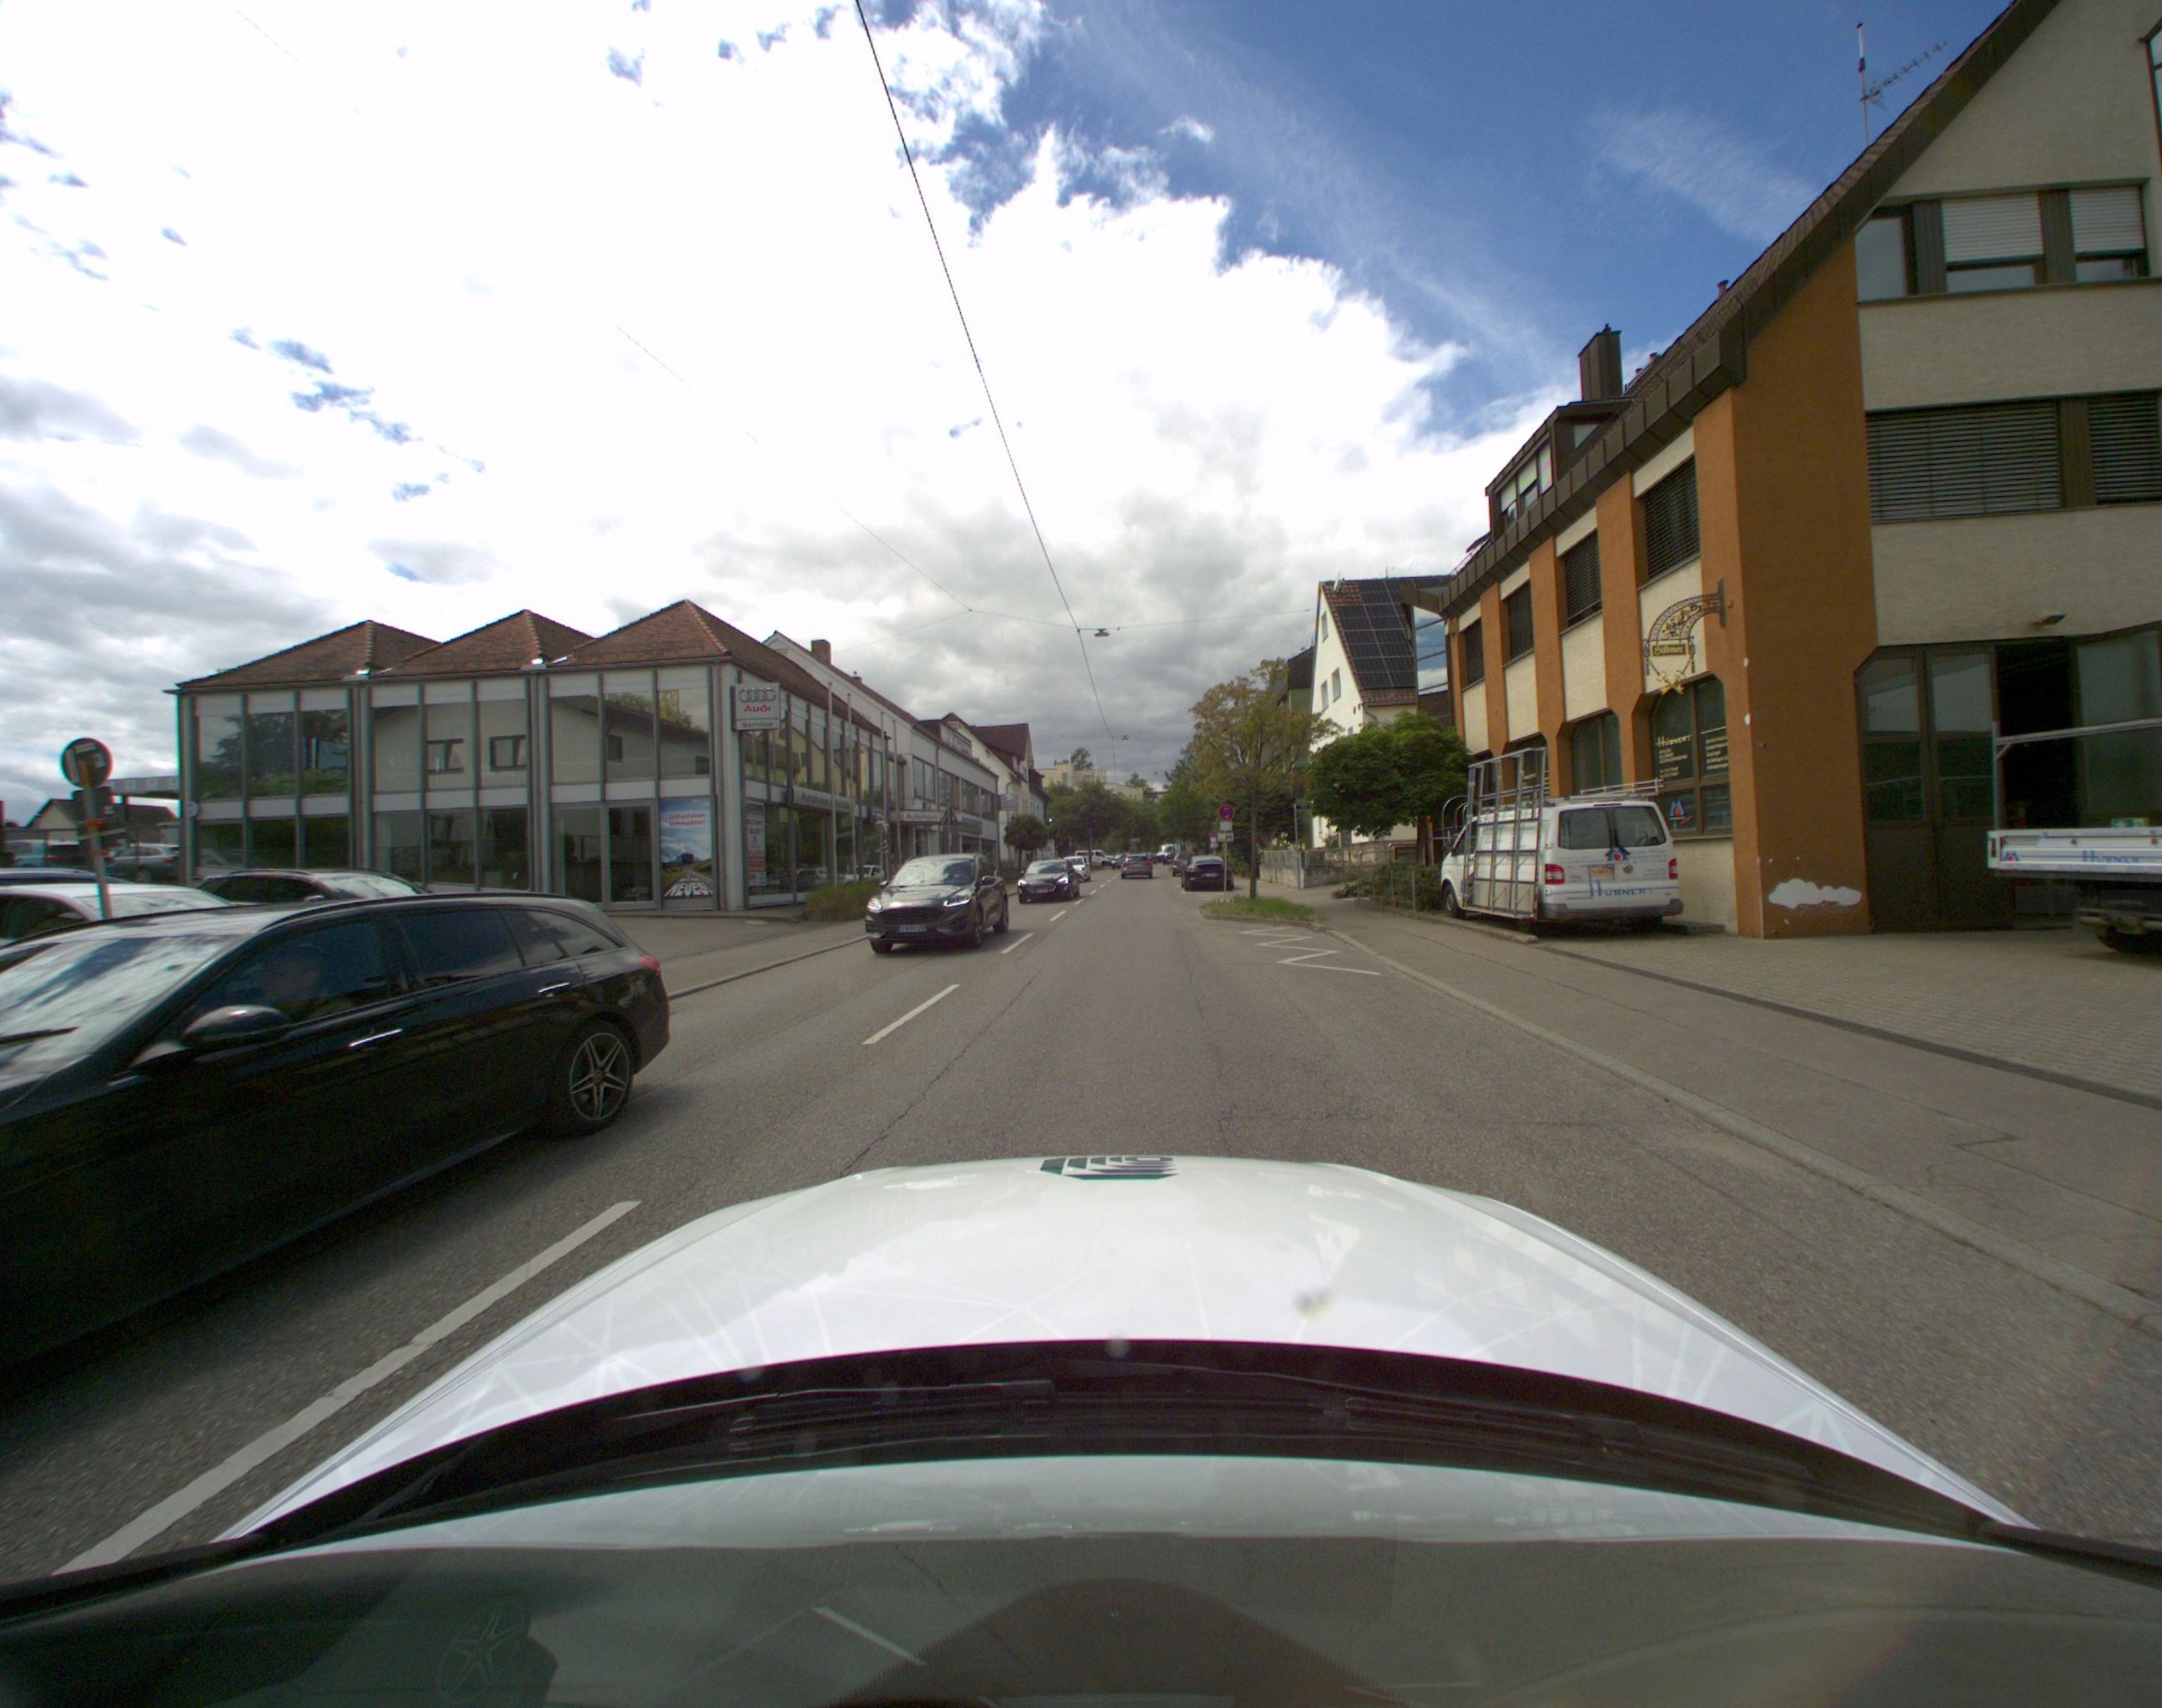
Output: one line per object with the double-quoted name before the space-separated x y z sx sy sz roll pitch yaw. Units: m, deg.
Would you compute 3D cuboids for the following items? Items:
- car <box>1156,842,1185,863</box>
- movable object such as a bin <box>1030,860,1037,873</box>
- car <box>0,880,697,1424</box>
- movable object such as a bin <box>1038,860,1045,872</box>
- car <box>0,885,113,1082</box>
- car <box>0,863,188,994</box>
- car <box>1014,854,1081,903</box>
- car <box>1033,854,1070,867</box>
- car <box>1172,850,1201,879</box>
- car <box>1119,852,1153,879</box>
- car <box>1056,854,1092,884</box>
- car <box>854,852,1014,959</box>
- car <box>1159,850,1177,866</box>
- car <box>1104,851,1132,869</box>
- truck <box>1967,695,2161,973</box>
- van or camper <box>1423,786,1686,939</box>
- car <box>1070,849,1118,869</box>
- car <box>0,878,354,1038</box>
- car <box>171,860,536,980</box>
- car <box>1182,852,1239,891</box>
"car" 11.570 -0.244 104.658 2.044 2.353 5.213 -5 0 24
"movable object such as a bin" -4.142 1.078 71.456 0.562 1.101 0.563 0 -1 0
"car" -3.826 0.942 3.574 1.732 1.429 4.530 -3 0 5
"movable object such as a bin" -3.492 1.066 71.522 0.562 1.101 0.563 0 -1 0
"car" -10.364 1.110 6.299 3.724 1.518 1.730 -2 0 2
"car" -14.694 0.985 10.313 1.798 1.585 4.333 1 1 4
"car" -1.112 0.834 28.707 1.823 1.523 4.175 -3 -1 4
"car" -3.427 0.777 94.825 3.985 1.413 1.823 -2 -2 17
"car" 6.845 0.651 52.976 1.681 1.666 4.471 -3 1 7
"car" 3.356 0.702 49.199 1.947 1.523 4.334 -2 -1 5
"car" -0.373 0.859 47.332 1.682 1.579 3.804 -3 -1 4
"car" -2.529 0.818 15.157 1.823 1.630 4.326 -3 0 4
"car" 9.040 0.445 85.097 1.608 1.523 3.571 -2 -1 2
"car" 3.533 0.558 77.284 1.763 1.523 4.478 -3 0 13
"truck" 12.139 -0.261 7.554 5.064 2.457 2.360 -2 1 4
"van or camper" 7.371 0.157 13.321 1.859 2.032 4.552 -1 -1 4
"car" 1.585 0.622 96.744 5.167 1.993 2.120 -4 -1 21
"car" -10.662 1.083 9.114 3.724 1.560 1.536 0 0 2
"car" -10.668 0.923 12.122 3.996 1.630 1.655 0 0 2
"car" 5.292 0.705 33.863 1.975 1.448 4.758 -3 -1 5
